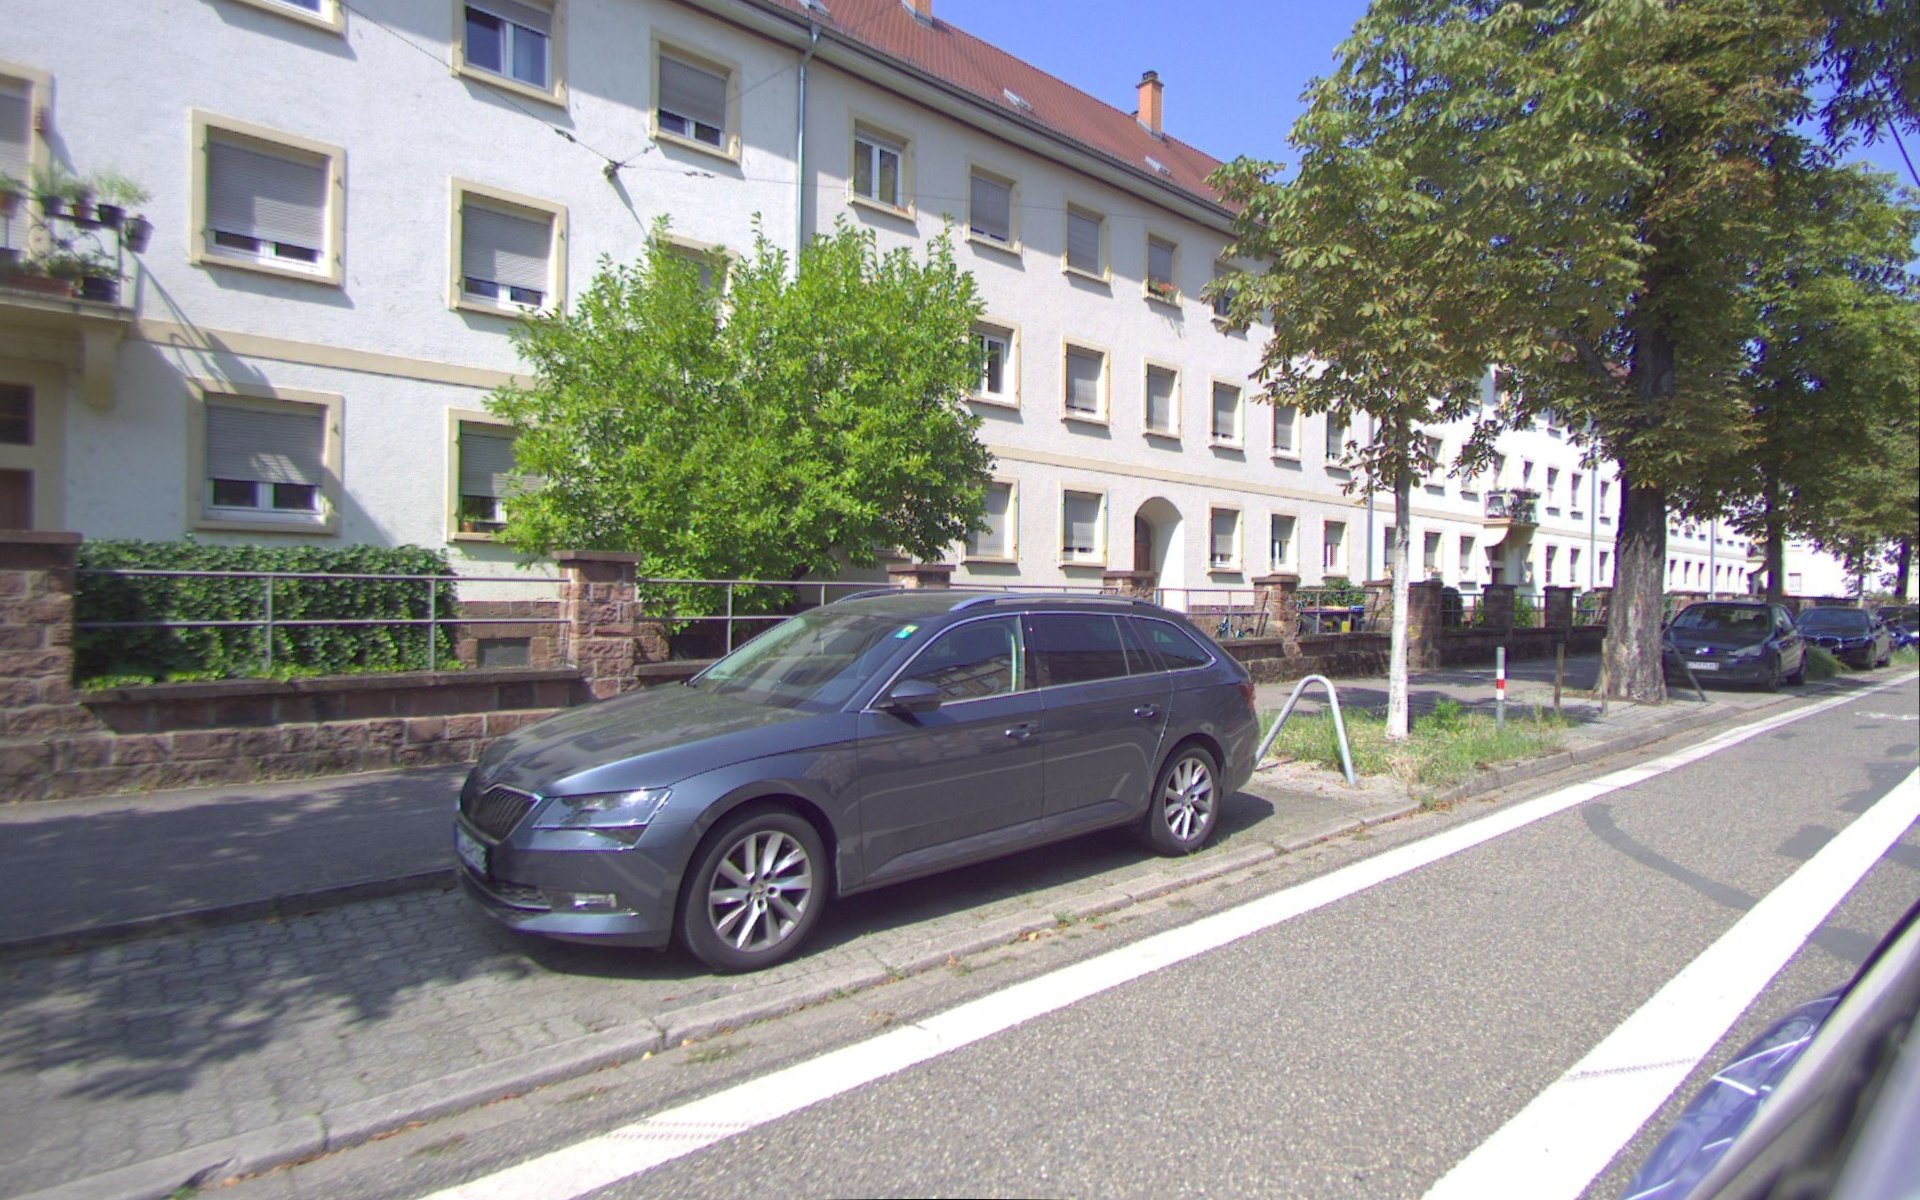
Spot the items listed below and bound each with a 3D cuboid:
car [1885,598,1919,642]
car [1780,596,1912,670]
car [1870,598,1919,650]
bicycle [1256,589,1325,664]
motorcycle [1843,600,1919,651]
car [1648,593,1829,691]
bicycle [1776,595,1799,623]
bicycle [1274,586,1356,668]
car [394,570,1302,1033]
[{"bbox_3d":[35.290,0.718,36.840,3.432,1.549,1.623,0,1,-34],"label":"car"},{"bbox_3d":[21.559,0.734,24.571,4.379,1.495,1.760,-1,4,-41],"label":"car"},{"bbox_3d":[29.634,0.730,31.361,3.968,1.495,1.620,0,2,-41],"label":"car"},{"bbox_3d":[5.825,0.445,17.803,1.552,1.273,0.402,0,0,-41],"label":"bicycle"},{"bbox_3d":[26.542,0.710,28.855,0.769,1.385,2.006,0,1,-43],"label":"motorcycle"},{"bbox_3d":[13.761,0.651,17.796,4.310,1.496,1.758,0,0,-42],"label":"car"},{"bbox_3d":[34.951,0.383,42.739,1.688,1.175,0.468,0,0,-42],"label":"bicycle"},{"bbox_3d":[6.148,0.433,17.478,1.859,1.350,0.456,0,1,-41],"label":"bicycle"},{"bbox_3d":[-0.232,0.634,5.567,4.756,1.496,1.895,0,1,-41],"label":"car"}]
